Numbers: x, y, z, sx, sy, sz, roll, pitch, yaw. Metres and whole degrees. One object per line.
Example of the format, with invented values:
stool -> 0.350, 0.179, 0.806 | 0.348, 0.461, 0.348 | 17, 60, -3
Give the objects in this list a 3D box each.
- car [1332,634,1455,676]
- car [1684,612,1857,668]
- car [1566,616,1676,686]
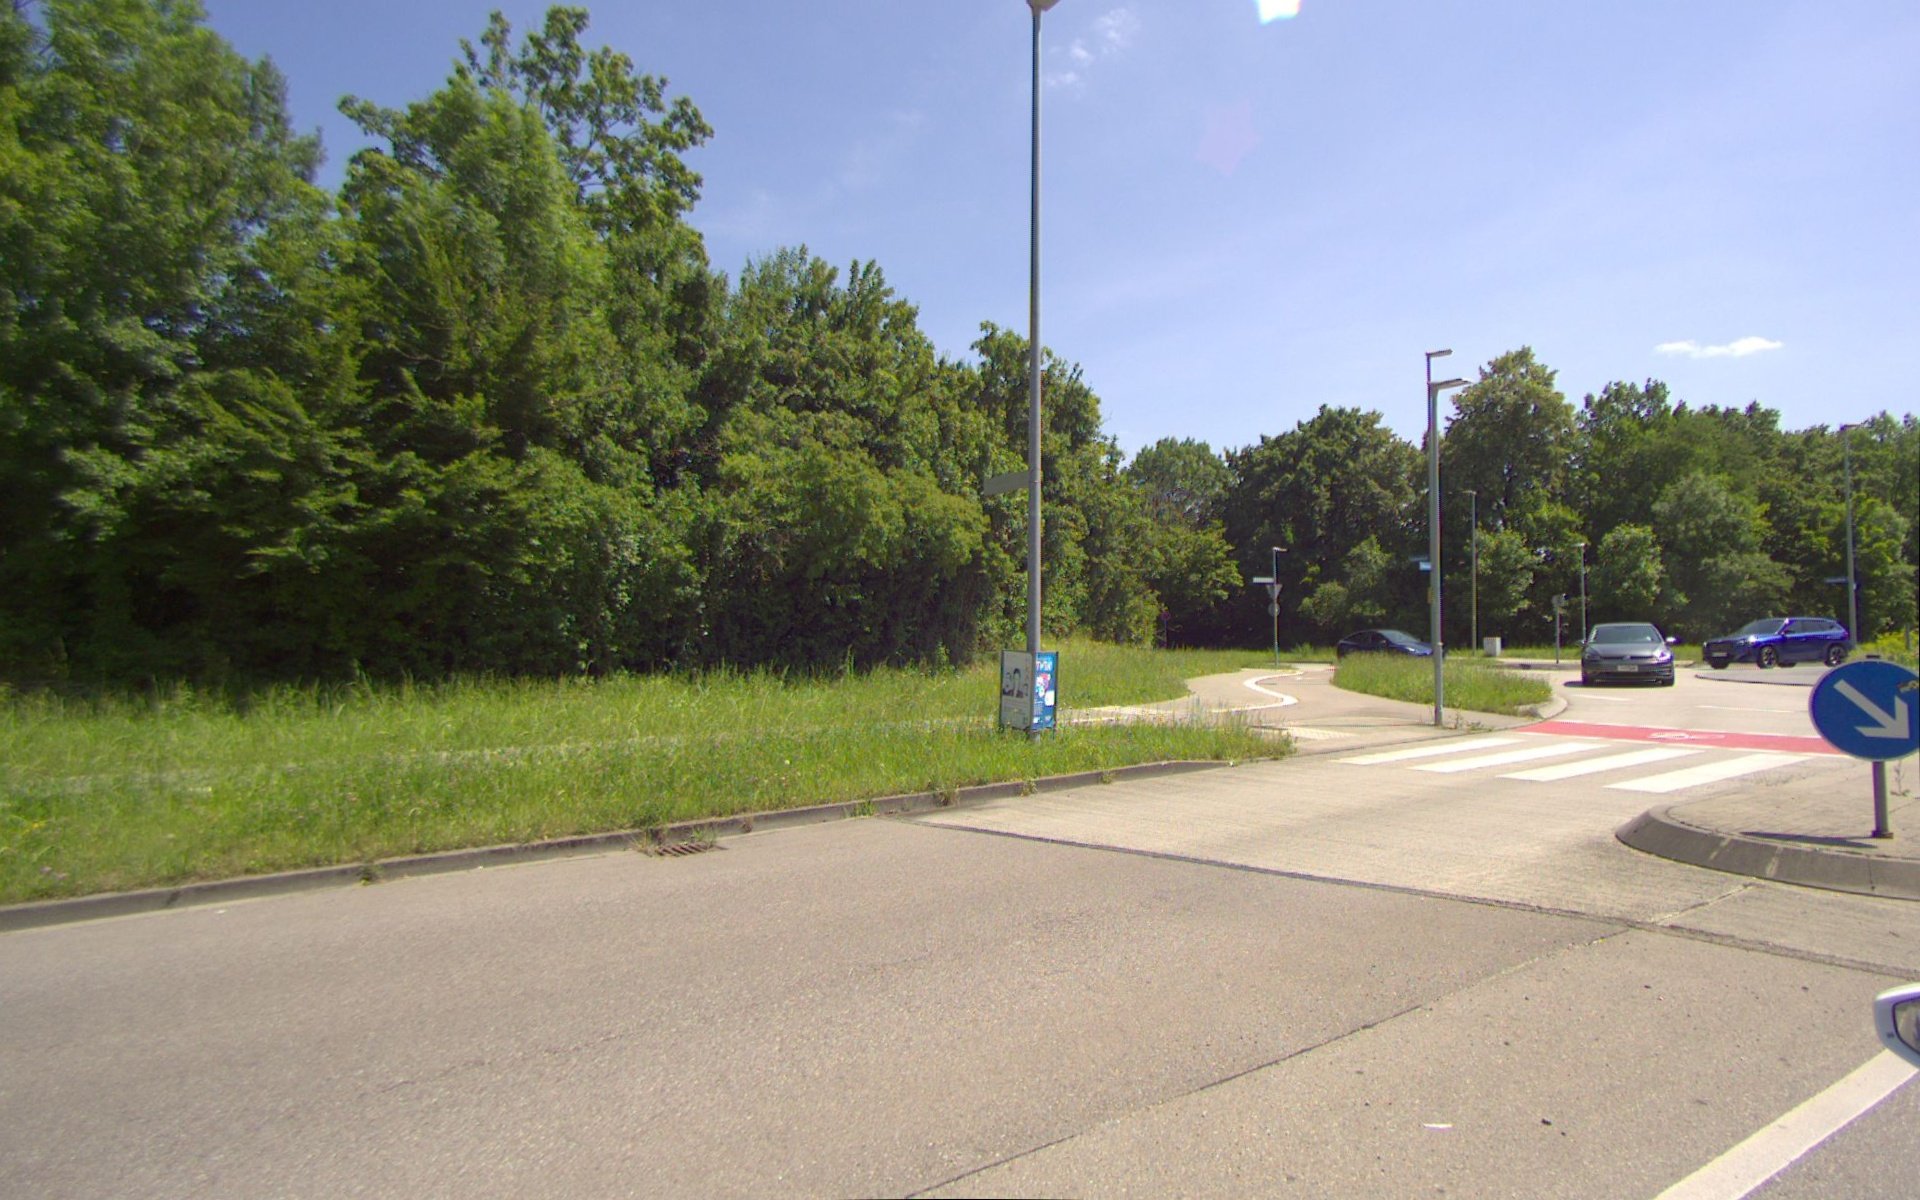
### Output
car -> 17.216, 2.142, 40.138 | 1.930, 1.514, 4.540 | 1, -1, -21
car -> 26.352, 1.285, 32.733 | 4.243, 1.617, 1.998 | -2, -2, -9
car -> 15.667, 1.194, 23.895 | 1.966, 1.498, 4.277 | -3, -3, 33
